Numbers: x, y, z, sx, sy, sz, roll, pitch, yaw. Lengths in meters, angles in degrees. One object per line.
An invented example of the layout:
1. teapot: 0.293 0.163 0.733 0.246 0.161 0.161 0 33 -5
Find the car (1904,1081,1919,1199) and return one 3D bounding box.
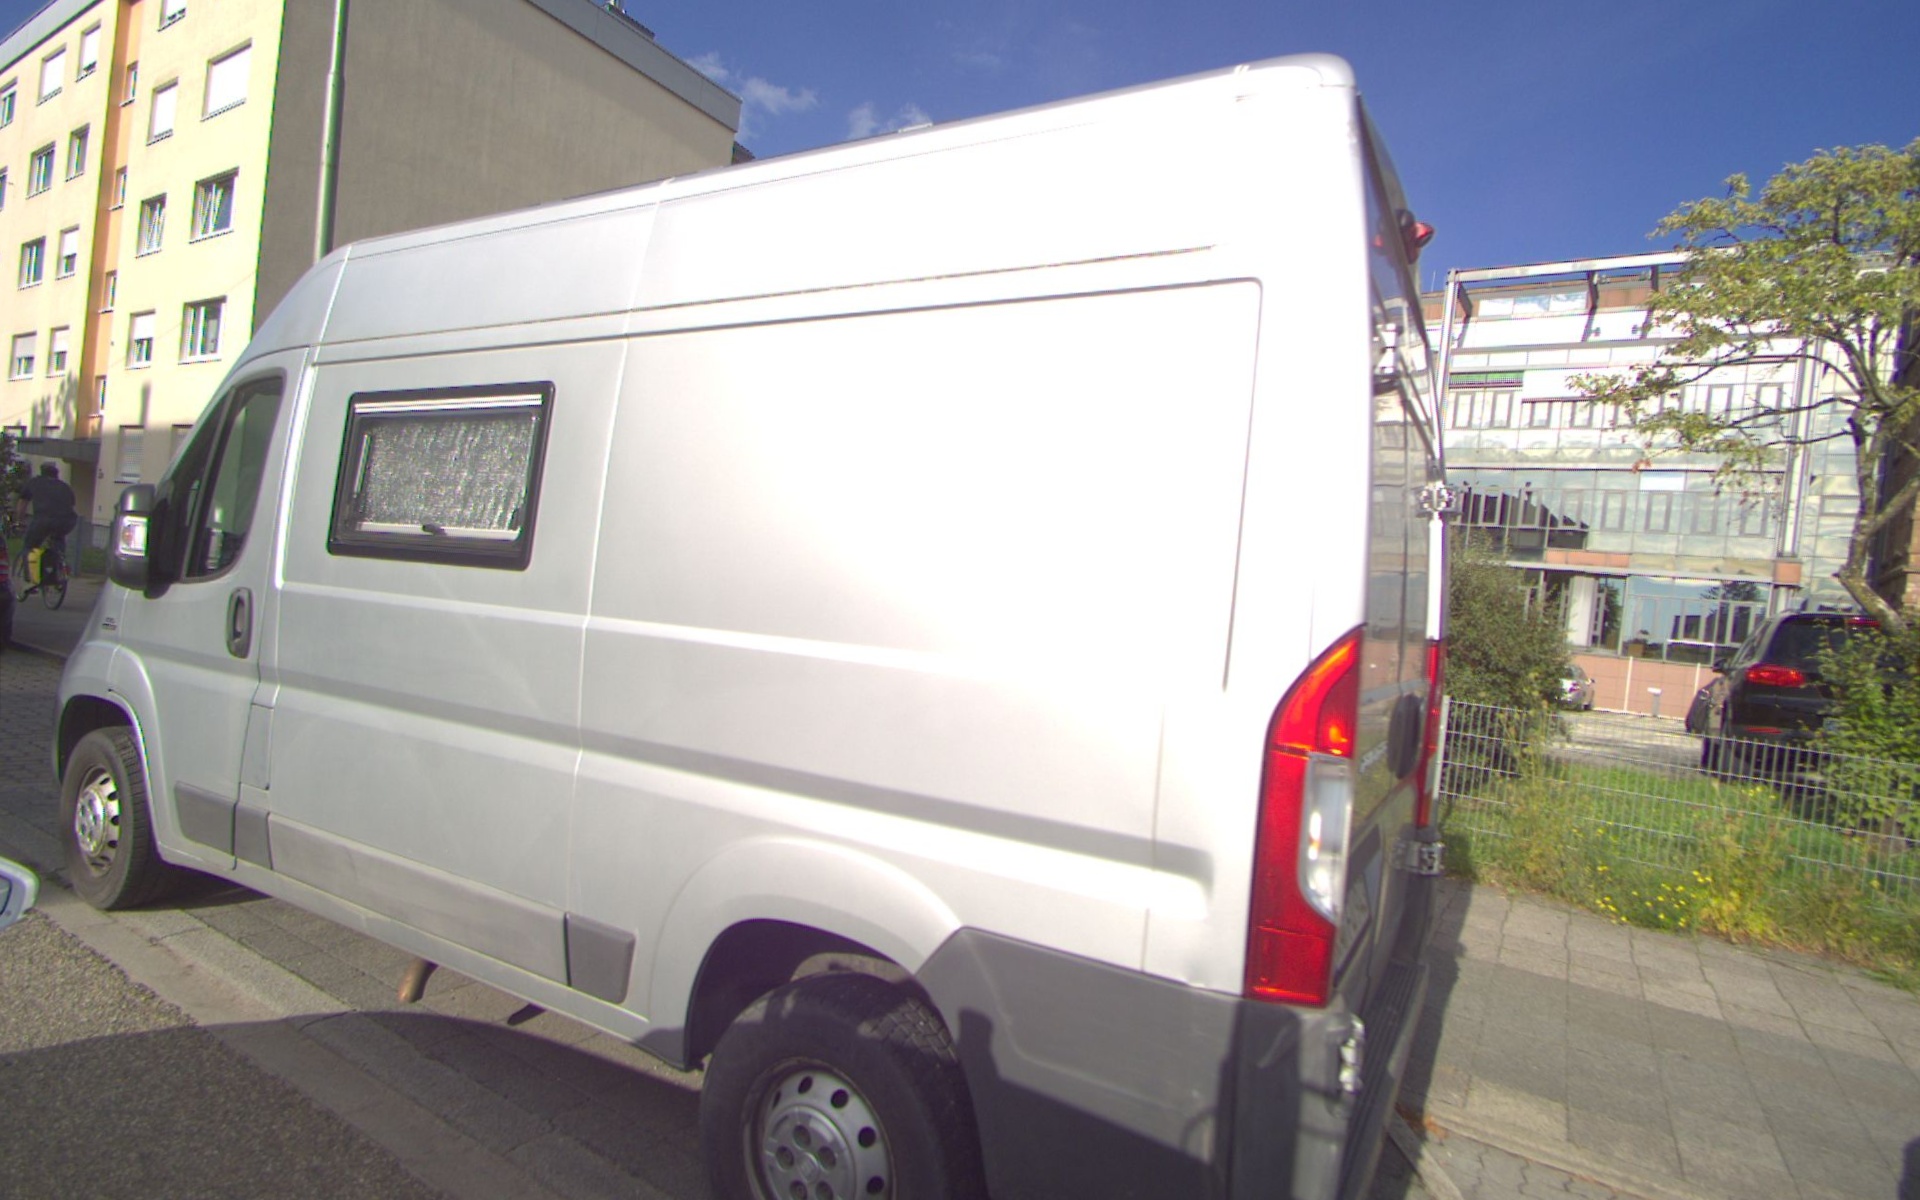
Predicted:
1. car: 3.725 1.079 0.678 4.134 1.670 1.674 6 2 32

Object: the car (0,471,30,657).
1. car: -10.384 -0.533 9.279 3.906 1.622 1.674 6 1 33

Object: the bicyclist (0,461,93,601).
1. bicyclist: -12.000 -0.895 13.156 0.878 1.698 0.624 7 0 30

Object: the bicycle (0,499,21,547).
1. bicycle: -25.992 -2.093 27.100 1.564 1.231 0.522 5 1 30

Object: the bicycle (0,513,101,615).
1. bicycle: -12.067 -0.489 13.191 1.896 1.149 0.524 6 0 30

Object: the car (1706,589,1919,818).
1. car: 8.341 0.987 9.560 1.842 1.678 3.786 6 -1 37

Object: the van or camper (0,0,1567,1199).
1. van or camper: -1.287 -0.015 3.755 5.814 2.560 2.161 6 2 30

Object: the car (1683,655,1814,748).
1. car: 16.260 2.096 20.854 1.842 1.521 4.077 6 -1 38
